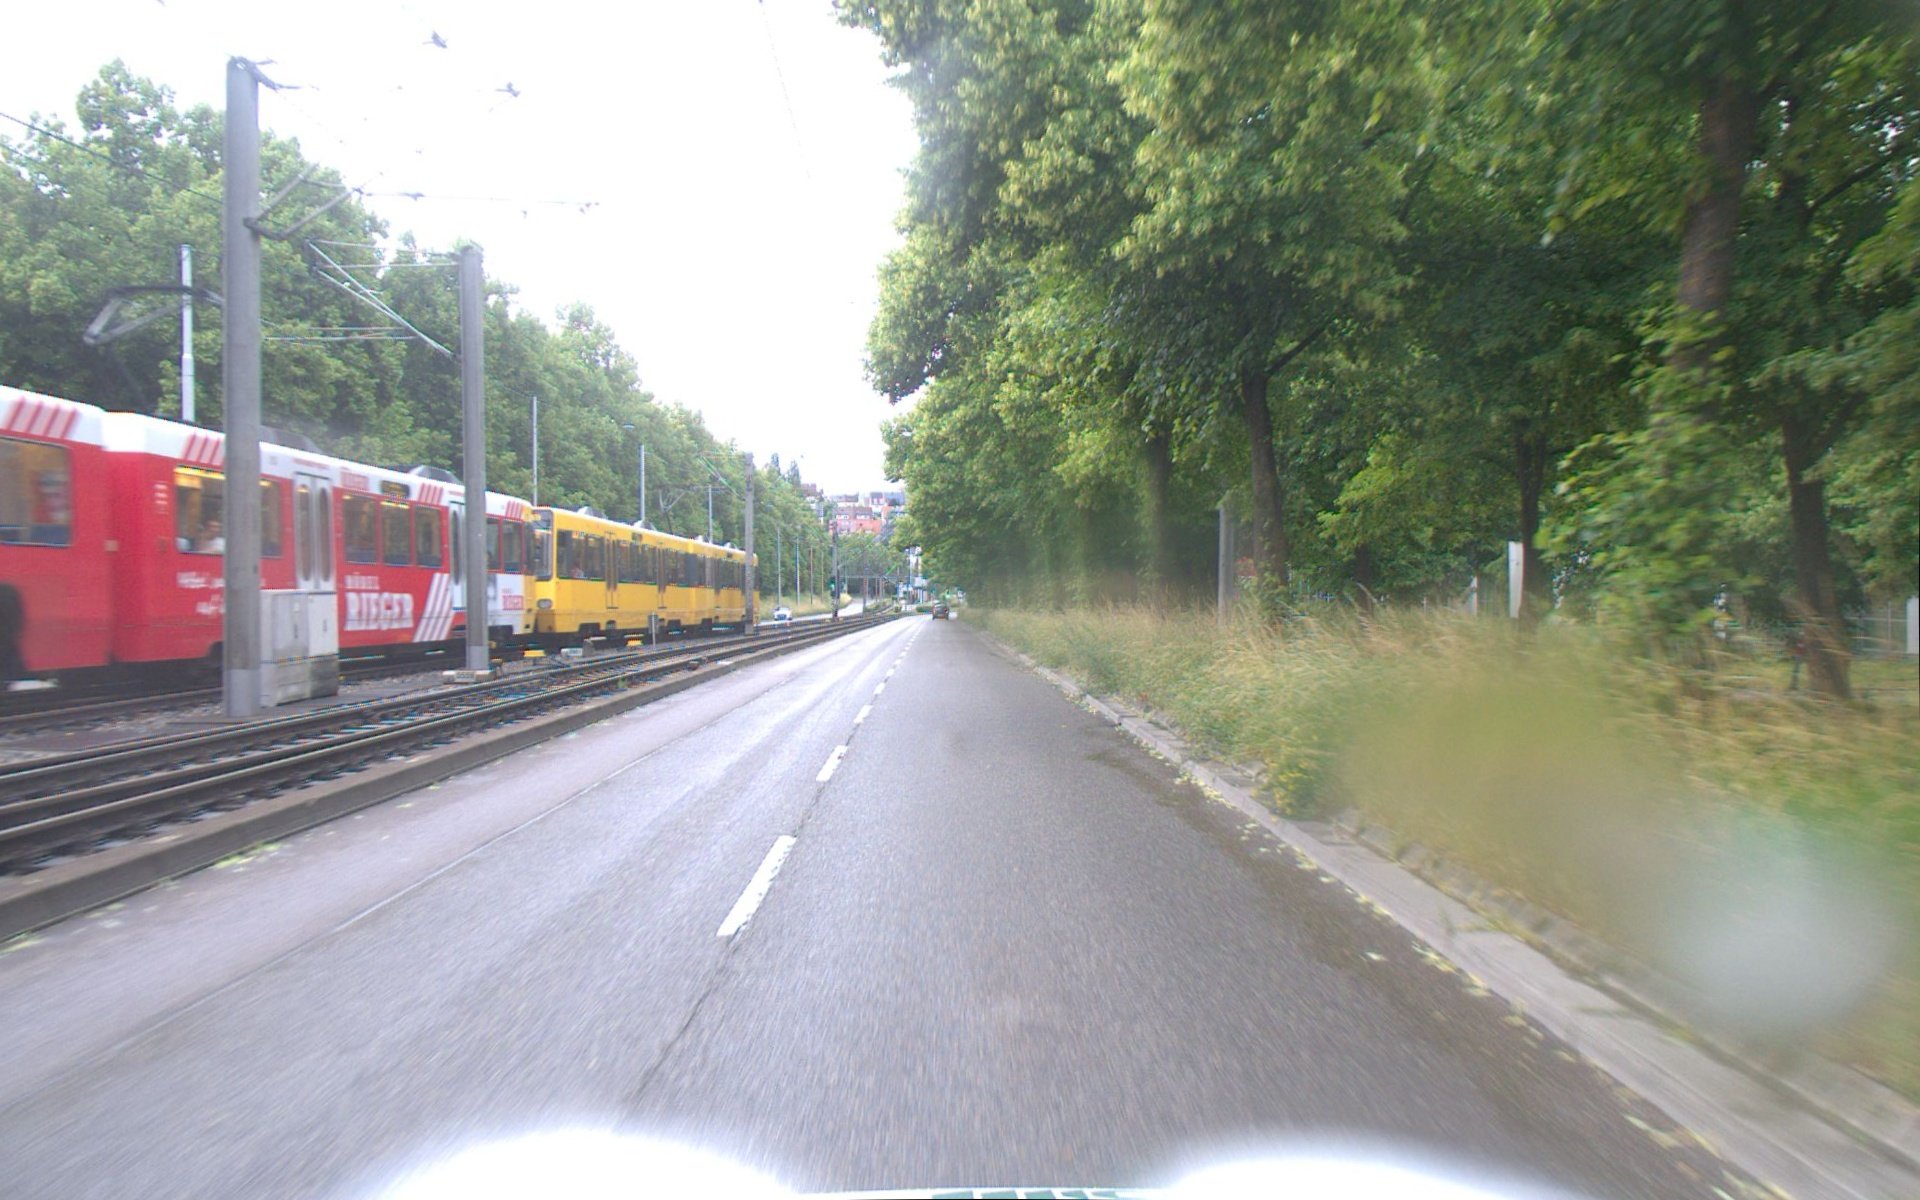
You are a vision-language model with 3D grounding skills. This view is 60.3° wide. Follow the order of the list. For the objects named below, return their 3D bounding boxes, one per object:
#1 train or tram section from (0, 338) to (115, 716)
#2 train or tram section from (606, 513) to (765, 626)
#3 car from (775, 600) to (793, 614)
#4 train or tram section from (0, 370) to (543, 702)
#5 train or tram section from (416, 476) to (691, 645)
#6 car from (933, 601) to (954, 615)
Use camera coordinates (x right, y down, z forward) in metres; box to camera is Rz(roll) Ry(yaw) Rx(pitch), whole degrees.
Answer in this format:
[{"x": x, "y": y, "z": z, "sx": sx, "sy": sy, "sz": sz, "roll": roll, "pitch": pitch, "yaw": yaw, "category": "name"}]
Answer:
[{"x": -11.412, "y": -0.695, "z": 9.921, "sx": 2.906, "sy": 3.877, "sz": 18.616, "roll": 0, "pitch": 0, "yaw": 1, "category": "train or tram section"}, {"x": -10.609, "y": -1.145, "z": 66.793, "sx": 2.906, "sy": 3.877, "sz": 19.522, "roll": 0, "pitch": 0, "yaw": 1, "category": "train or tram section"}, {"x": -18.261, "y": 0.729, "z": 171.724, "sx": 1.446, "sy": 1.461, "sz": 3.909, "roll": -2, "pitch": 0, "yaw": 0, "category": "car"}, {"x": -11.147, "y": -0.829, "z": 28.617, "sx": 2.906, "sy": 3.877, "sz": 18.616, "roll": 0, "pitch": 0, "yaw": 1, "category": "train or tram section"}, {"x": -10.878, "y": -0.986, "z": 47.482, "sx": 2.906, "sy": 3.877, "sz": 19.100, "roll": 0, "pitch": 0, "yaw": 1, "category": "train or tram section"}, {"x": -1.697, "y": 0.802, "z": 169.671, "sx": 2.149, "sy": 1.352, "sz": 3.999, "roll": 0, "pitch": 1, "yaw": -1, "category": "car"}]
